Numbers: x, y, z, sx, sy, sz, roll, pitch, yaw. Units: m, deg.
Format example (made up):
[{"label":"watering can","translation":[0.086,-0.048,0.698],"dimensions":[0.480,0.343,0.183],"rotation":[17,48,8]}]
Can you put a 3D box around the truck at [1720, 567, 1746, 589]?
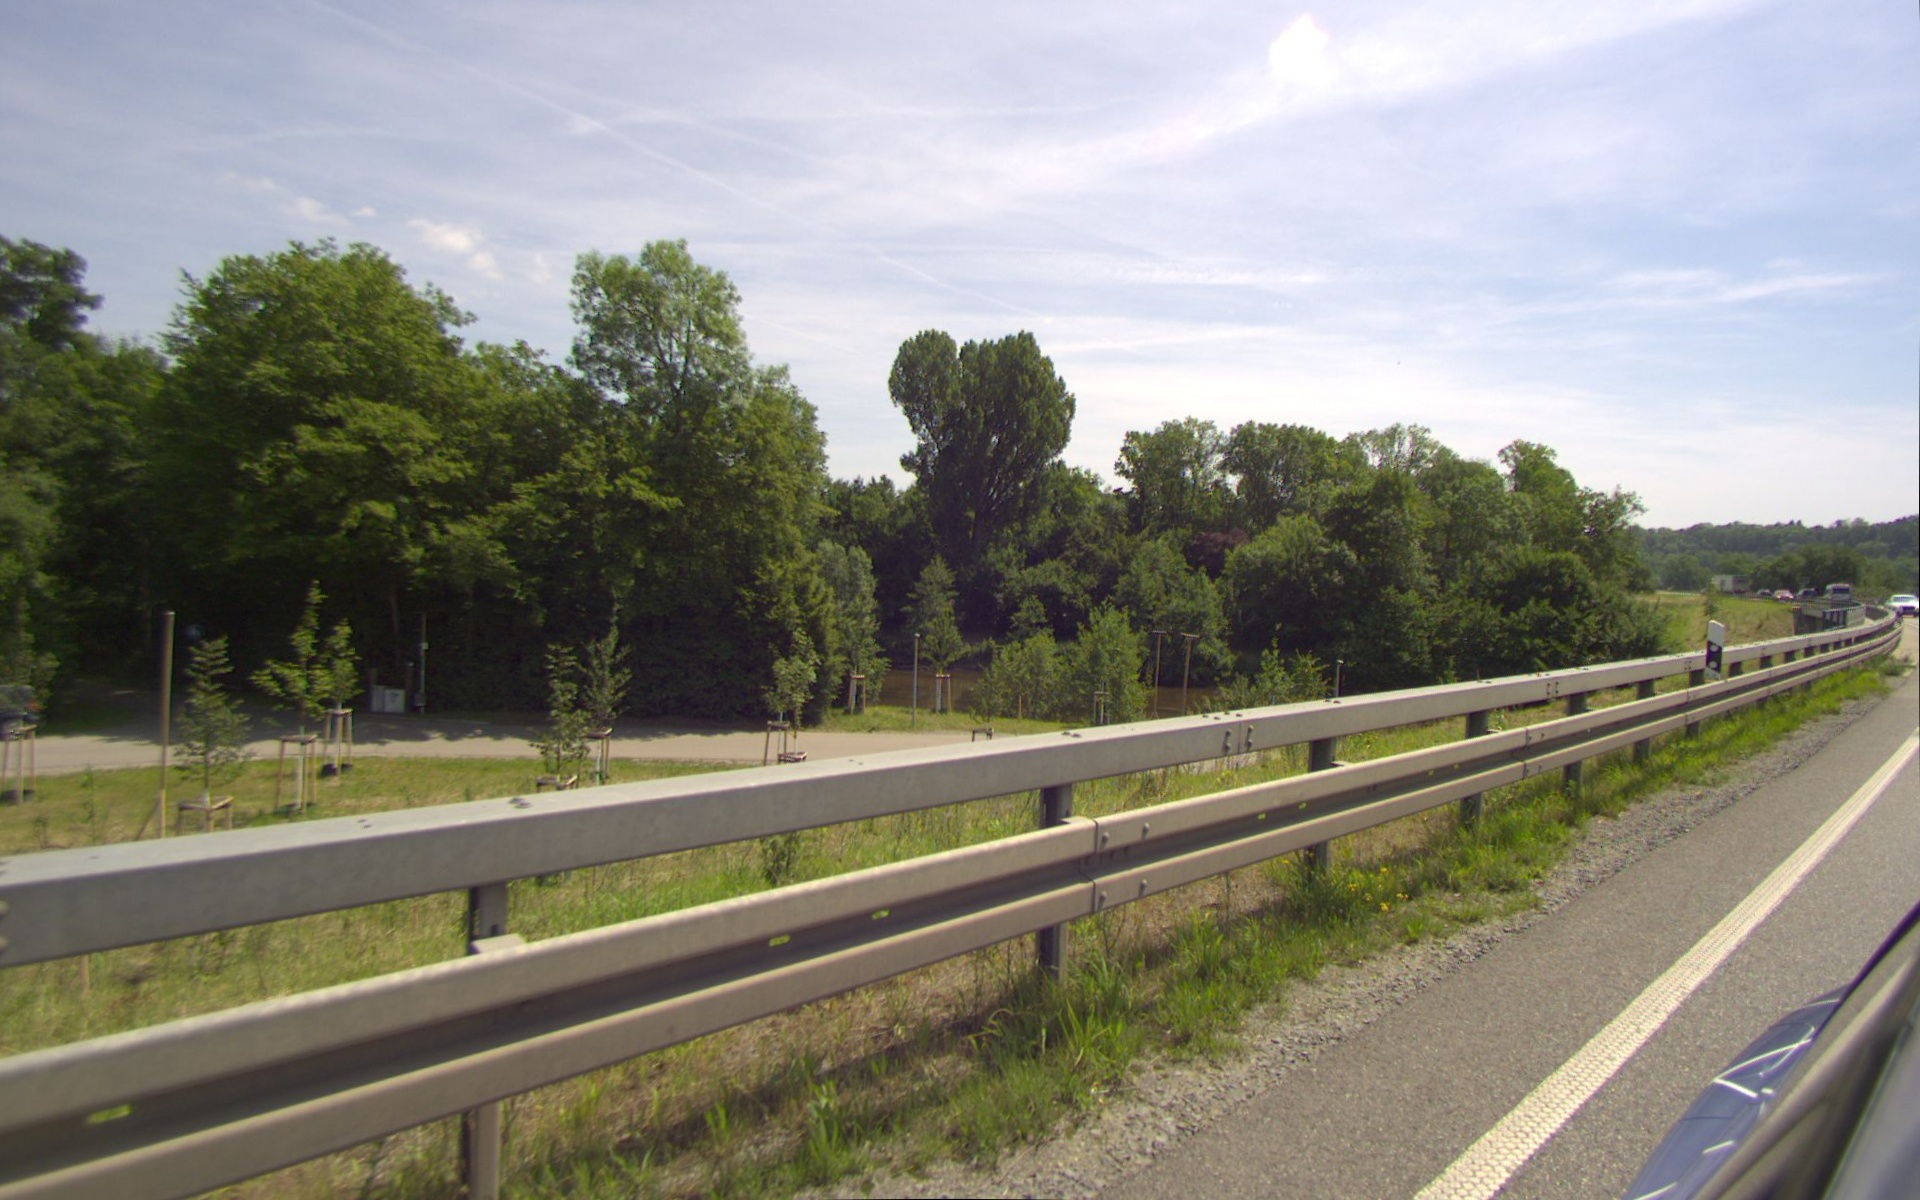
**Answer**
[{"label":"truck","translation":[149.916,-4.230,196.288],"dimensions":[2.826,4.212,6.275],"rotation":[0,1,25]}]

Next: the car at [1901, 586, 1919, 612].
[{"label":"car","translation":[71.253,-0.064,74.979],"dimensions":[1.972,1.811,3.944],"rotation":[0,2,39]}]

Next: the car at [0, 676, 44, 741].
[{"label":"car","translation":[-30.655,3.368,30.717],"dimensions":[4.131,1.702,1.860],"rotation":[1,3,-45]}]

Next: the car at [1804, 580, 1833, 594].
[{"label":"car","translation":[123.553,-1.883,145.621],"dimensions":[1.839,1.821,4.937],"rotation":[0,1,24]}]

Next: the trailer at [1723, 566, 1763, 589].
[{"label":"trailer","translation":[147.149,-4.173,190.395],"dimensions":[2.833,4.240,14.370],"rotation":[0,0,25]}]

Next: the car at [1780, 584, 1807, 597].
[{"label":"car","translation":[116.120,-1.325,141.104],"dimensions":[1.962,1.754,3.964],"rotation":[1,0,26]}]

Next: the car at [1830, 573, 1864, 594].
[{"label":"car","translation":[114.056,-2.131,130.177],"dimensions":[2.167,2.591,5.739],"rotation":[0,1,29]}]

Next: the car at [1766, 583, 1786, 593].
[{"label":"car","translation":[137.890,-2.084,171.031],"dimensions":[1.651,1.475,3.859],"rotation":[5,3,26]}]
